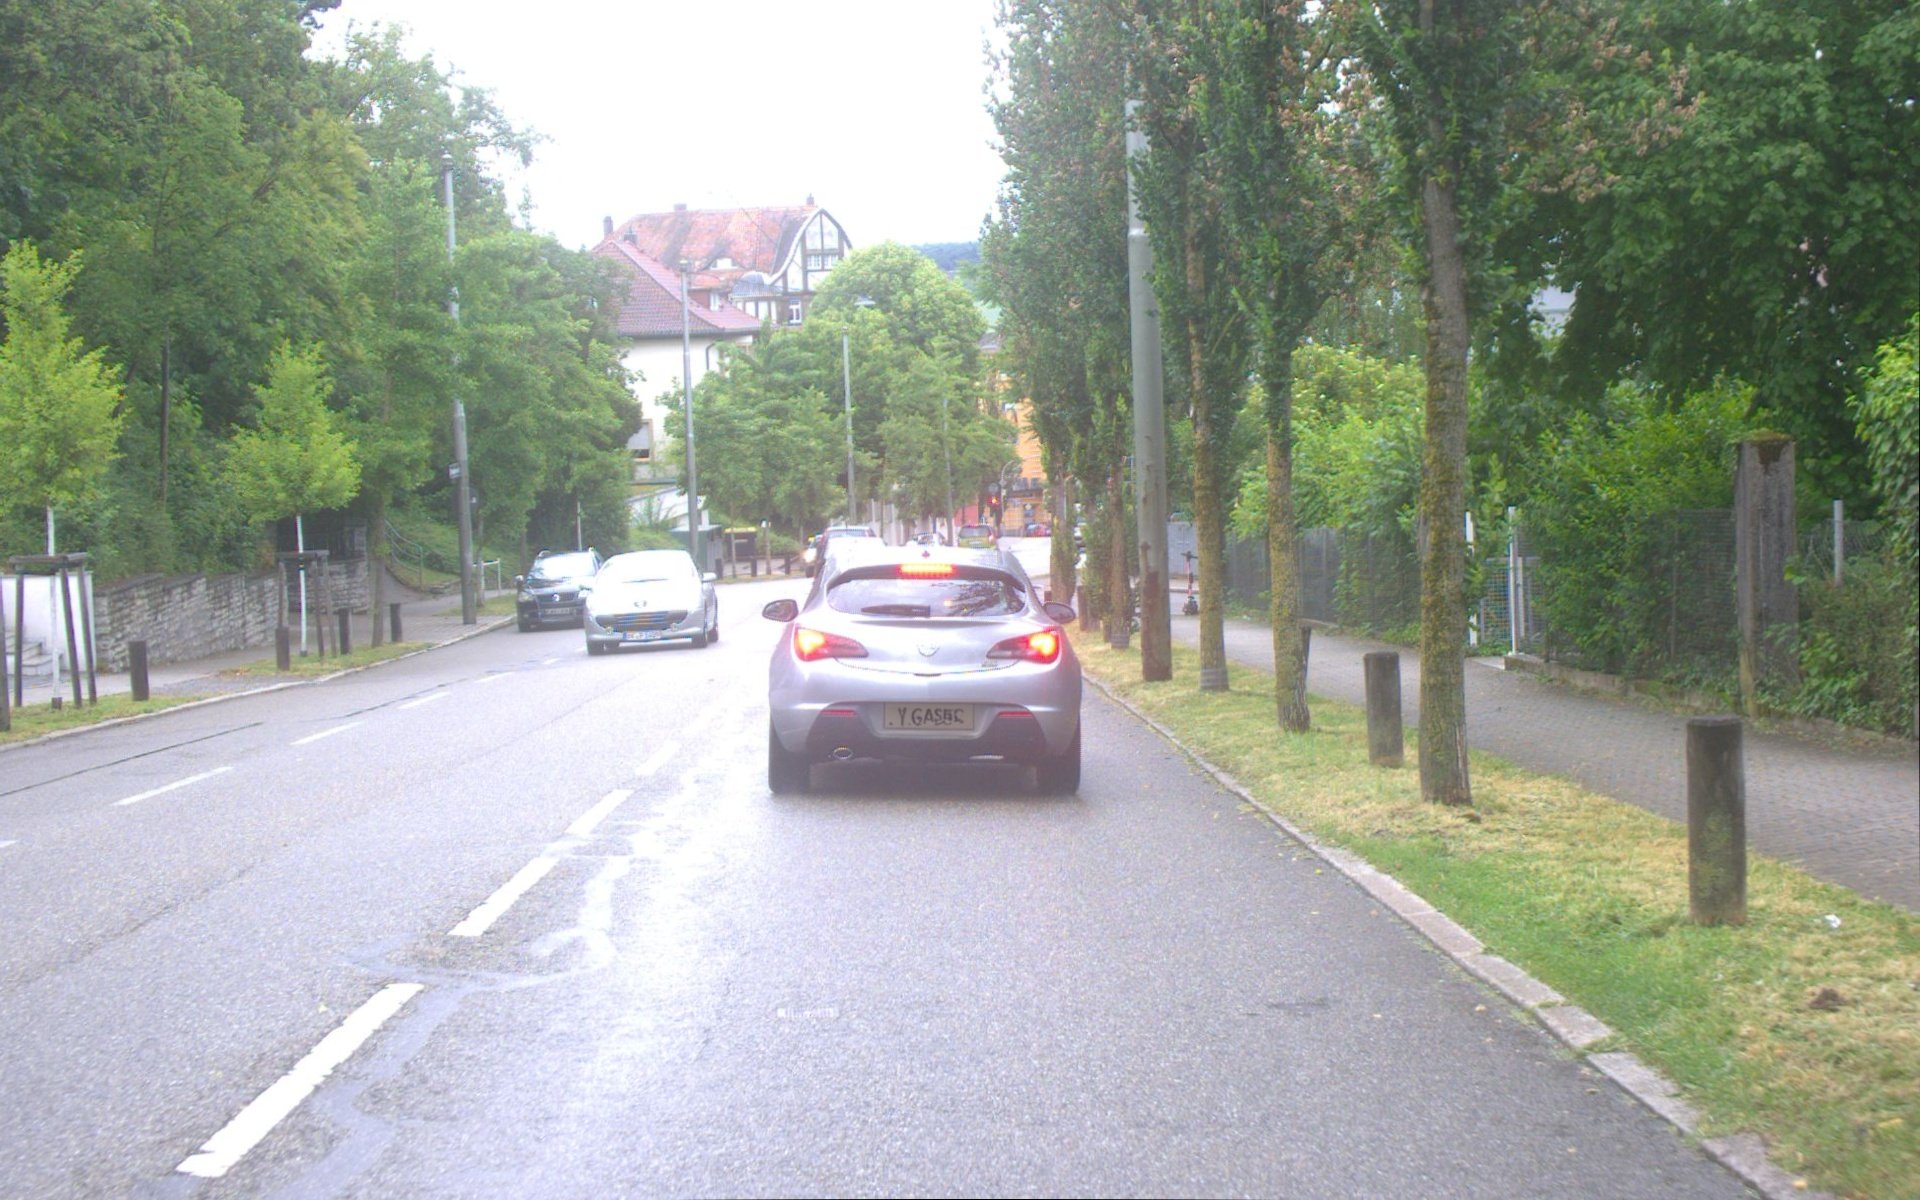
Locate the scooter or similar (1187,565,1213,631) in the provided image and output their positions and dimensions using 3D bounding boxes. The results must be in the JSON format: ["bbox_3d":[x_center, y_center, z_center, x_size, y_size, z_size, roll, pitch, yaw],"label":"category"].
[{"bbox_3d":[4.638,-0.044,66.513,0.342,1.250,1.267,1,0,-2],"label":"scooter or similar"}]

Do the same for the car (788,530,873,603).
[{"bbox_3d":[-3.378,-0.902,90.532,1.769,1.775,3.976,1,2,4],"label":"car"}]

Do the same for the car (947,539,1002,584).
[{"bbox_3d":[0.567,-1.453,129.084,1.754,1.645,4.000,1,1,4],"label":"car"}]

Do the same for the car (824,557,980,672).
[{"bbox_3d":[-0.683,0.148,43.111,1.798,1.318,4.000,-1,1,1],"label":"car"}]

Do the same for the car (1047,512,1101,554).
[{"bbox_3d":[5.836,-3.434,175.371,2.334,2.029,4.734,1,2,7],"label":"car"}]

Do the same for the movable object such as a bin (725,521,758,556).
[{"bbox_3d":[-8.749,-2.445,137.672,1.272,1.382,0.489,0,2,4],"label":"movable object such as a bin"}]

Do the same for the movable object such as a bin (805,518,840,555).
[{"bbox_3d":[-5.251,-2.439,131.542,1.272,1.382,0.489,-1,2,4],"label":"movable object such as a bin"}]

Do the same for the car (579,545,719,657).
[{"bbox_3d":[-4.488,-0.003,50.052,1.761,1.481,4.000,-3,1,-2],"label":"car"}]

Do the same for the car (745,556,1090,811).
[{"bbox_3d":[-0.267,0.448,21.339,1.945,1.427,3.884,0,1,-1],"label":"car"}]

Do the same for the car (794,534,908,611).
[{"bbox_3d":[-2.278,-0.607,72.622,1.961,1.467,3.950,1,2,5],"label":"car"}]

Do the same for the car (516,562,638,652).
[{"bbox_3d":[-7.339,0.108,66.180,1.745,1.544,3.918,-4,1,1],"label":"car"}]
